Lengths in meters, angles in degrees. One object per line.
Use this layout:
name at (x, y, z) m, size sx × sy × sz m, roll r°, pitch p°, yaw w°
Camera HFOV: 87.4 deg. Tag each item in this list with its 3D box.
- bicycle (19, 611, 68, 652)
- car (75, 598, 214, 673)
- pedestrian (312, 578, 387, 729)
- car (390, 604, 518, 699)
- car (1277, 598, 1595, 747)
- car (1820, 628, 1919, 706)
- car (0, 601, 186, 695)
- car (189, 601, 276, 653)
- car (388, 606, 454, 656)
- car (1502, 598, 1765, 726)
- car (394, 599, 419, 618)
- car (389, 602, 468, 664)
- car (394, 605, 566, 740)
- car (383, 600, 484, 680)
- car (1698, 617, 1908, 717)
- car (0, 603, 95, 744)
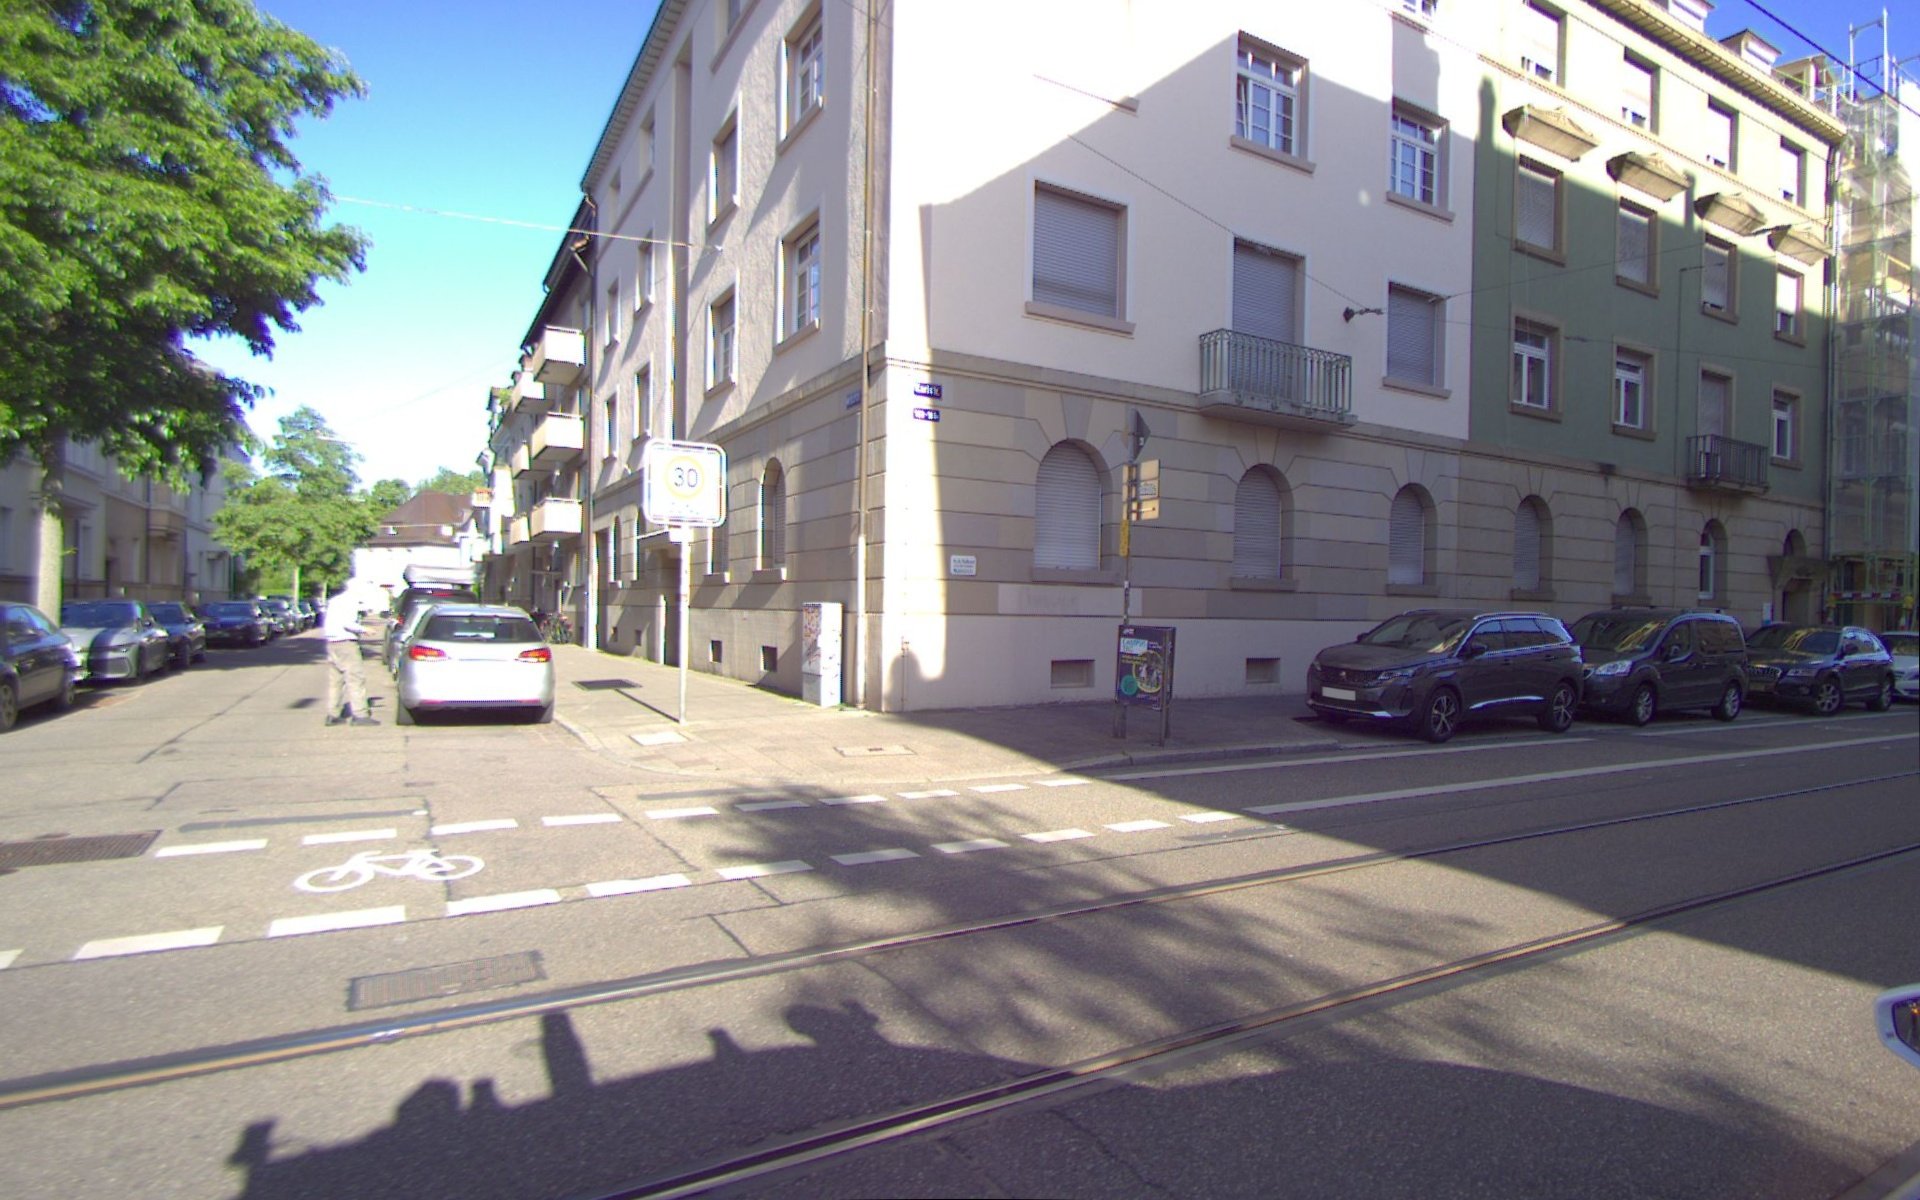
bicycle at (-26.138, 0.904, 28.670) m, size 0.608 × 1.101 × 2.456 m, roll 2°, pitch -2°, yaw -33°
car at (-17.352, 0.687, 21.540) m, size 1.727 × 1.441 × 3.685 m, roll 0°, pitch 0°, yaw -30°
pedestrian at (-7.264, 0.618, 11.975) m, size 0.723 × 1.735 × 0.604 m, roll 1°, pitch 0°, yaw -30°
car at (-9.114, 0.815, 17.946) m, size 1.819 × 1.484 × 3.777 m, roll 0°, pitch 0°, yaw -30°
car at (6.693, 0.912, 13.969) m, size 4.616 × 1.713 × 1.773 m, roll 1°, pitch 1°, yaw -32°
car at (21.468, 1.452, 22.643) m, size 4.334 × 1.523 × 1.710 m, roll 1°, pitch 1°, yaw -29°
car at (-14.824, 0.729, 17.398) m, size 1.727 × 1.413 × 3.968 m, roll 0°, pitch 0°, yaw -30°
car at (-22.107, 0.772, 30.643) m, size 1.727 × 1.441 × 3.968 m, roll 0°, pitch 0°, yaw -30°
car at (-17.414, 0.942, 32.376) m, size 1.761 × 1.484 × 3.968 m, roll 0°, pitch 0°, yaw -30°
car at (11.278, 0.971, 16.757) m, size 4.473 × 1.840 × 1.775 m, roll 1°, pitch 1°, yaw -29°
car at (-47.773, 0.734, 86.685) m, size 1.761 × 1.599 × 3.968 m, roll 0°, pitch 0°, yaw -30°
car at (-14.561, 0.839, 27.441) m, size 1.761 × 1.542 × 3.968 m, roll 0°, pitch 0°, yaw -30°
car at (-6.545, 0.816, 13.448) m, size 1.761 × 1.484 × 4.197 m, roll 0°, pitch 0°, yaw -30°
car at (-11.897, 0.810, 22.580) m, size 1.837 × 1.602 × 3.968 m, roll 0°, pitch 0°, yaw -30°
car at (16.344, 1.230, 19.427) m, size 4.558 × 1.648 × 1.773 m, roll 1°, pitch 1°, yaw -32°
car at (-11.418, 0.754, 11.372) m, size 1.727 × 1.413 × 3.968 m, roll 0°, pitch 0°, yaw -30°
